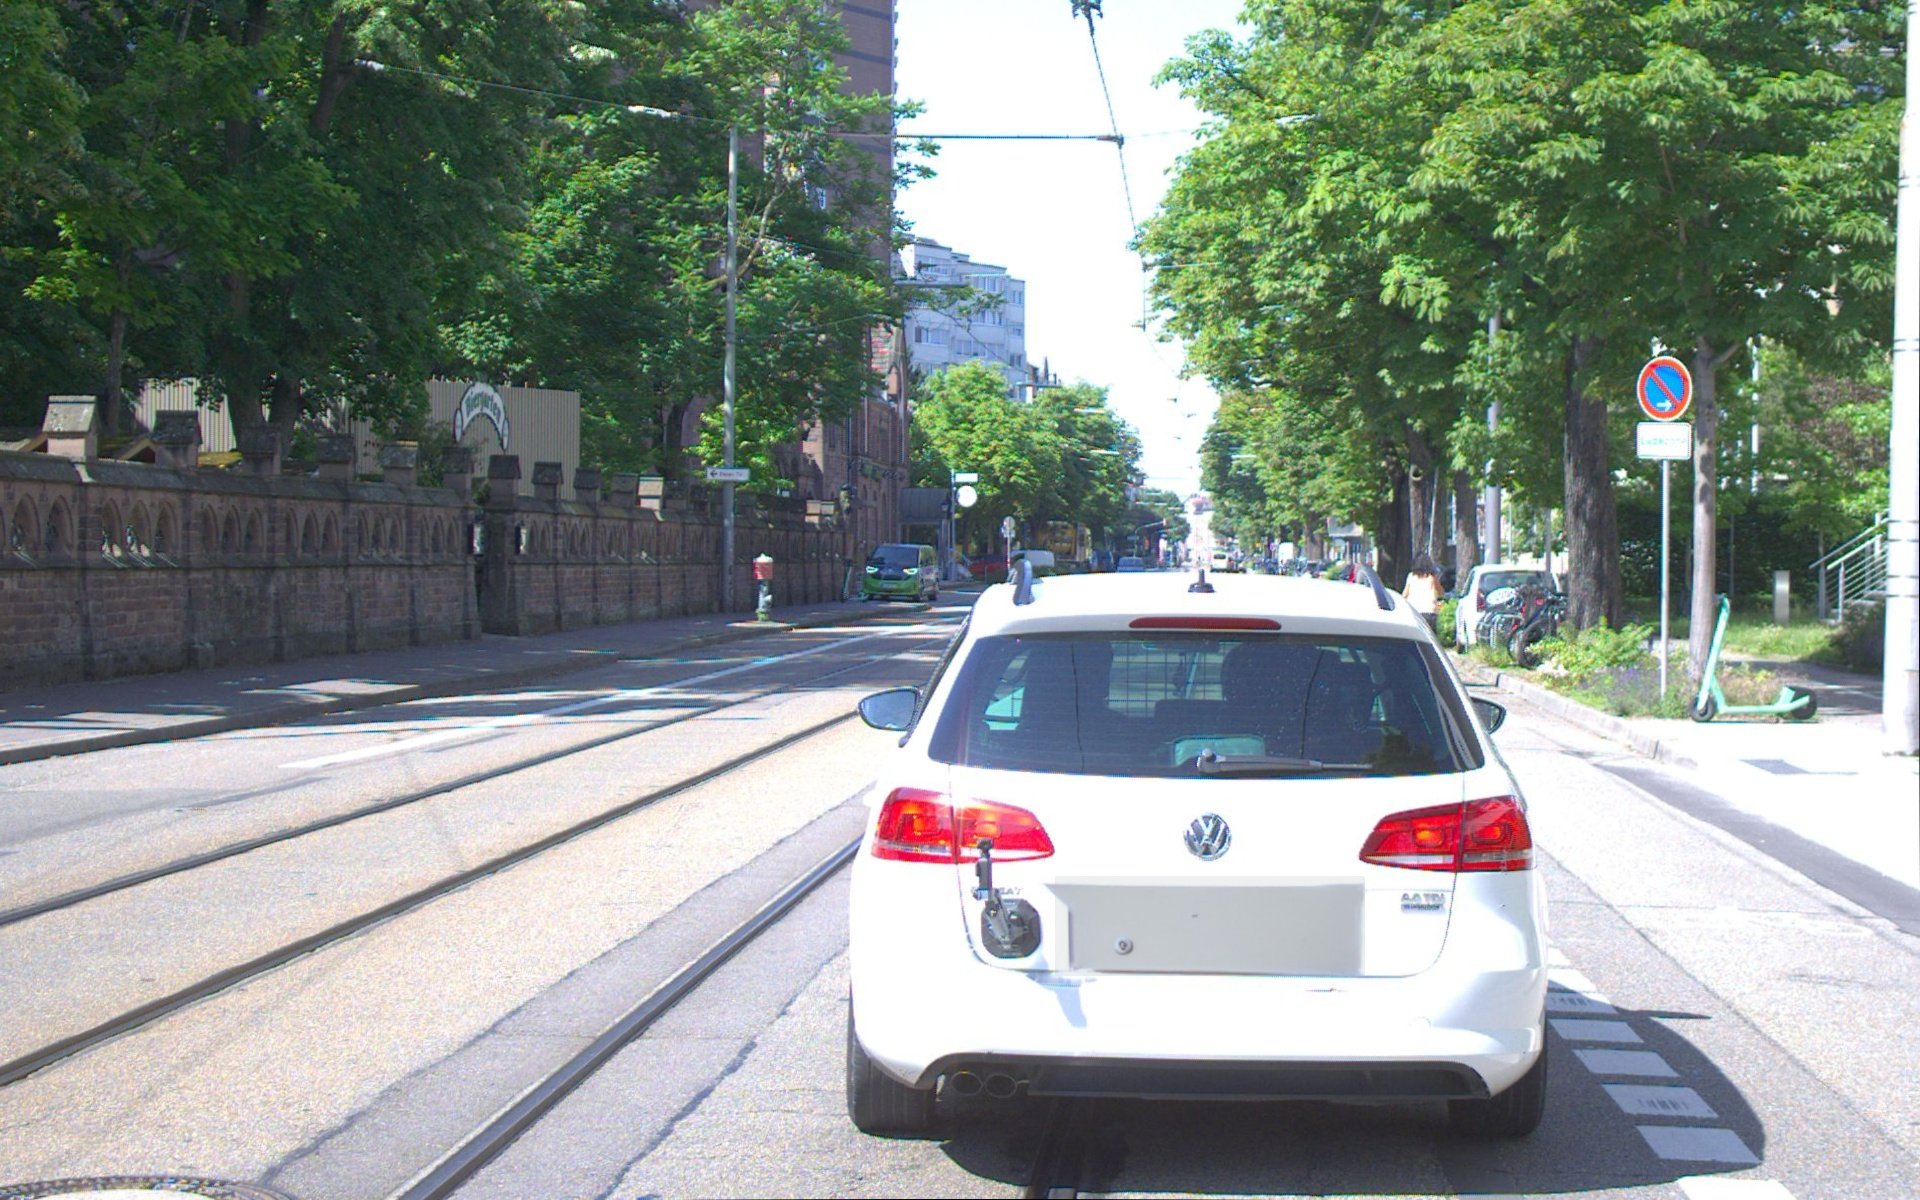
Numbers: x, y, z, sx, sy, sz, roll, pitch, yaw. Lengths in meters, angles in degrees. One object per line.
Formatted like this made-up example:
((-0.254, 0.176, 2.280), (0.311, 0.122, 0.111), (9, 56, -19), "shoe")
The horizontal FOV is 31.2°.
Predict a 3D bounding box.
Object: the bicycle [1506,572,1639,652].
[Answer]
((8.624, 0.167, 48.439), (1.774, 1.116, 0.596), (0, 1, 2), "bicycle")

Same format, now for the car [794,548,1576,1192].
((0.645, 0.579, 9.929), (1.754, 1.437, 4.412), (0, 1, 4), "car")

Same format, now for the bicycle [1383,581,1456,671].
((5.816, 0.312, 43.628), (0.811, 1.074, 2.012), (1, 1, 5), "bicycle")

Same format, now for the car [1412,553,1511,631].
((9.804, -0.184, 67.436), (1.664, 1.439, 4.632), (0, 1, 5), "car")

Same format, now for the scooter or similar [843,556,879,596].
((-2.909, -0.710, 100.695), (0.405, 1.151, 1.140), (1, 1, 39), "scooter or similar")

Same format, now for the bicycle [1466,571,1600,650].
((8.585, 0.153, 51.555), (1.886, 1.079, 0.551), (3, 1, 2), "bicycle")

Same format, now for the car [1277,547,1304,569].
((21.247, -2.686, 221.235), (1.714, 1.396, 3.842), (0, 1, 5), "car")

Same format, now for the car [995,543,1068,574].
((4.318, -2.520, 208.277), (3.987, 1.809, 2.000), (0, 1, -31), "car")

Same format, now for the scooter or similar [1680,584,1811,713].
((7.260, 0.444, 31.806), (1.143, 1.150, 0.493), (1, 1, 11), "scooter or similar")

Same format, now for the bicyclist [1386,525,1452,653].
((5.858, -0.147, 43.896), (0.786, 1.623, 0.738), (0, 1, 5), "bicyclist")

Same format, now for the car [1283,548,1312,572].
((19.705, -2.345, 200.816), (1.714, 1.396, 3.842), (0, 1, 5), "car")

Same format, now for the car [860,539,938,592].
((-2.048, -1.170, 116.201), (1.994, 1.751, 4.710), (0, 1, 7), "car")

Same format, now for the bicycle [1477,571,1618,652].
((8.491, 0.167, 49.702), (1.911, 1.079, 0.551), (2, 1, 2), "bicycle")

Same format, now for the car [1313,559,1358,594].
((15.024, -0.952, 137.669), (1.714, 1.396, 3.842), (0, 1, 5), "car")

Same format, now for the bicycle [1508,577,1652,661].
((8.055, 0.242, 44.727), (1.774, 1.079, 0.596), (0, 1, 2), "bicycle")

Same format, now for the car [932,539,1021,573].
((0.831, -2.241, 175.252), (4.116, 1.525, 1.933), (2, 1, -16), "car")

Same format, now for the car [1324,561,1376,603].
((13.225, -0.627, 116.492), (1.714, 1.396, 3.842), (0, 1, 6), "car")

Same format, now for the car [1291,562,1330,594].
((15.860, -1.008, 155.767), (1.713, 1.396, 3.842), (0, 1, 5), "car")

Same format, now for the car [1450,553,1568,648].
((8.834, -0.021, 55.514), (1.591, 1.446, 3.945), (0, 1, 5), "car")

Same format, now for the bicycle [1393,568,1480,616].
((10.218, -0.173, 73.738), (1.787, 1.007, 0.488), (0, 1, 0), "bicycle")

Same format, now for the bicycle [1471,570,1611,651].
((8.496, 0.151, 50.303), (1.912, 1.079, 0.551), (3, 1, 2), "bicycle")

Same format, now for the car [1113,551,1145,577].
((8.984, -1.906, 182.659), (1.493, 1.380, 3.642), (0, 1, 5), "car")

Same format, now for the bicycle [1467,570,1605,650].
((8.521, 0.147, 50.916), (1.912, 1.079, 0.551), (3, 1, 2), "bicycle")
